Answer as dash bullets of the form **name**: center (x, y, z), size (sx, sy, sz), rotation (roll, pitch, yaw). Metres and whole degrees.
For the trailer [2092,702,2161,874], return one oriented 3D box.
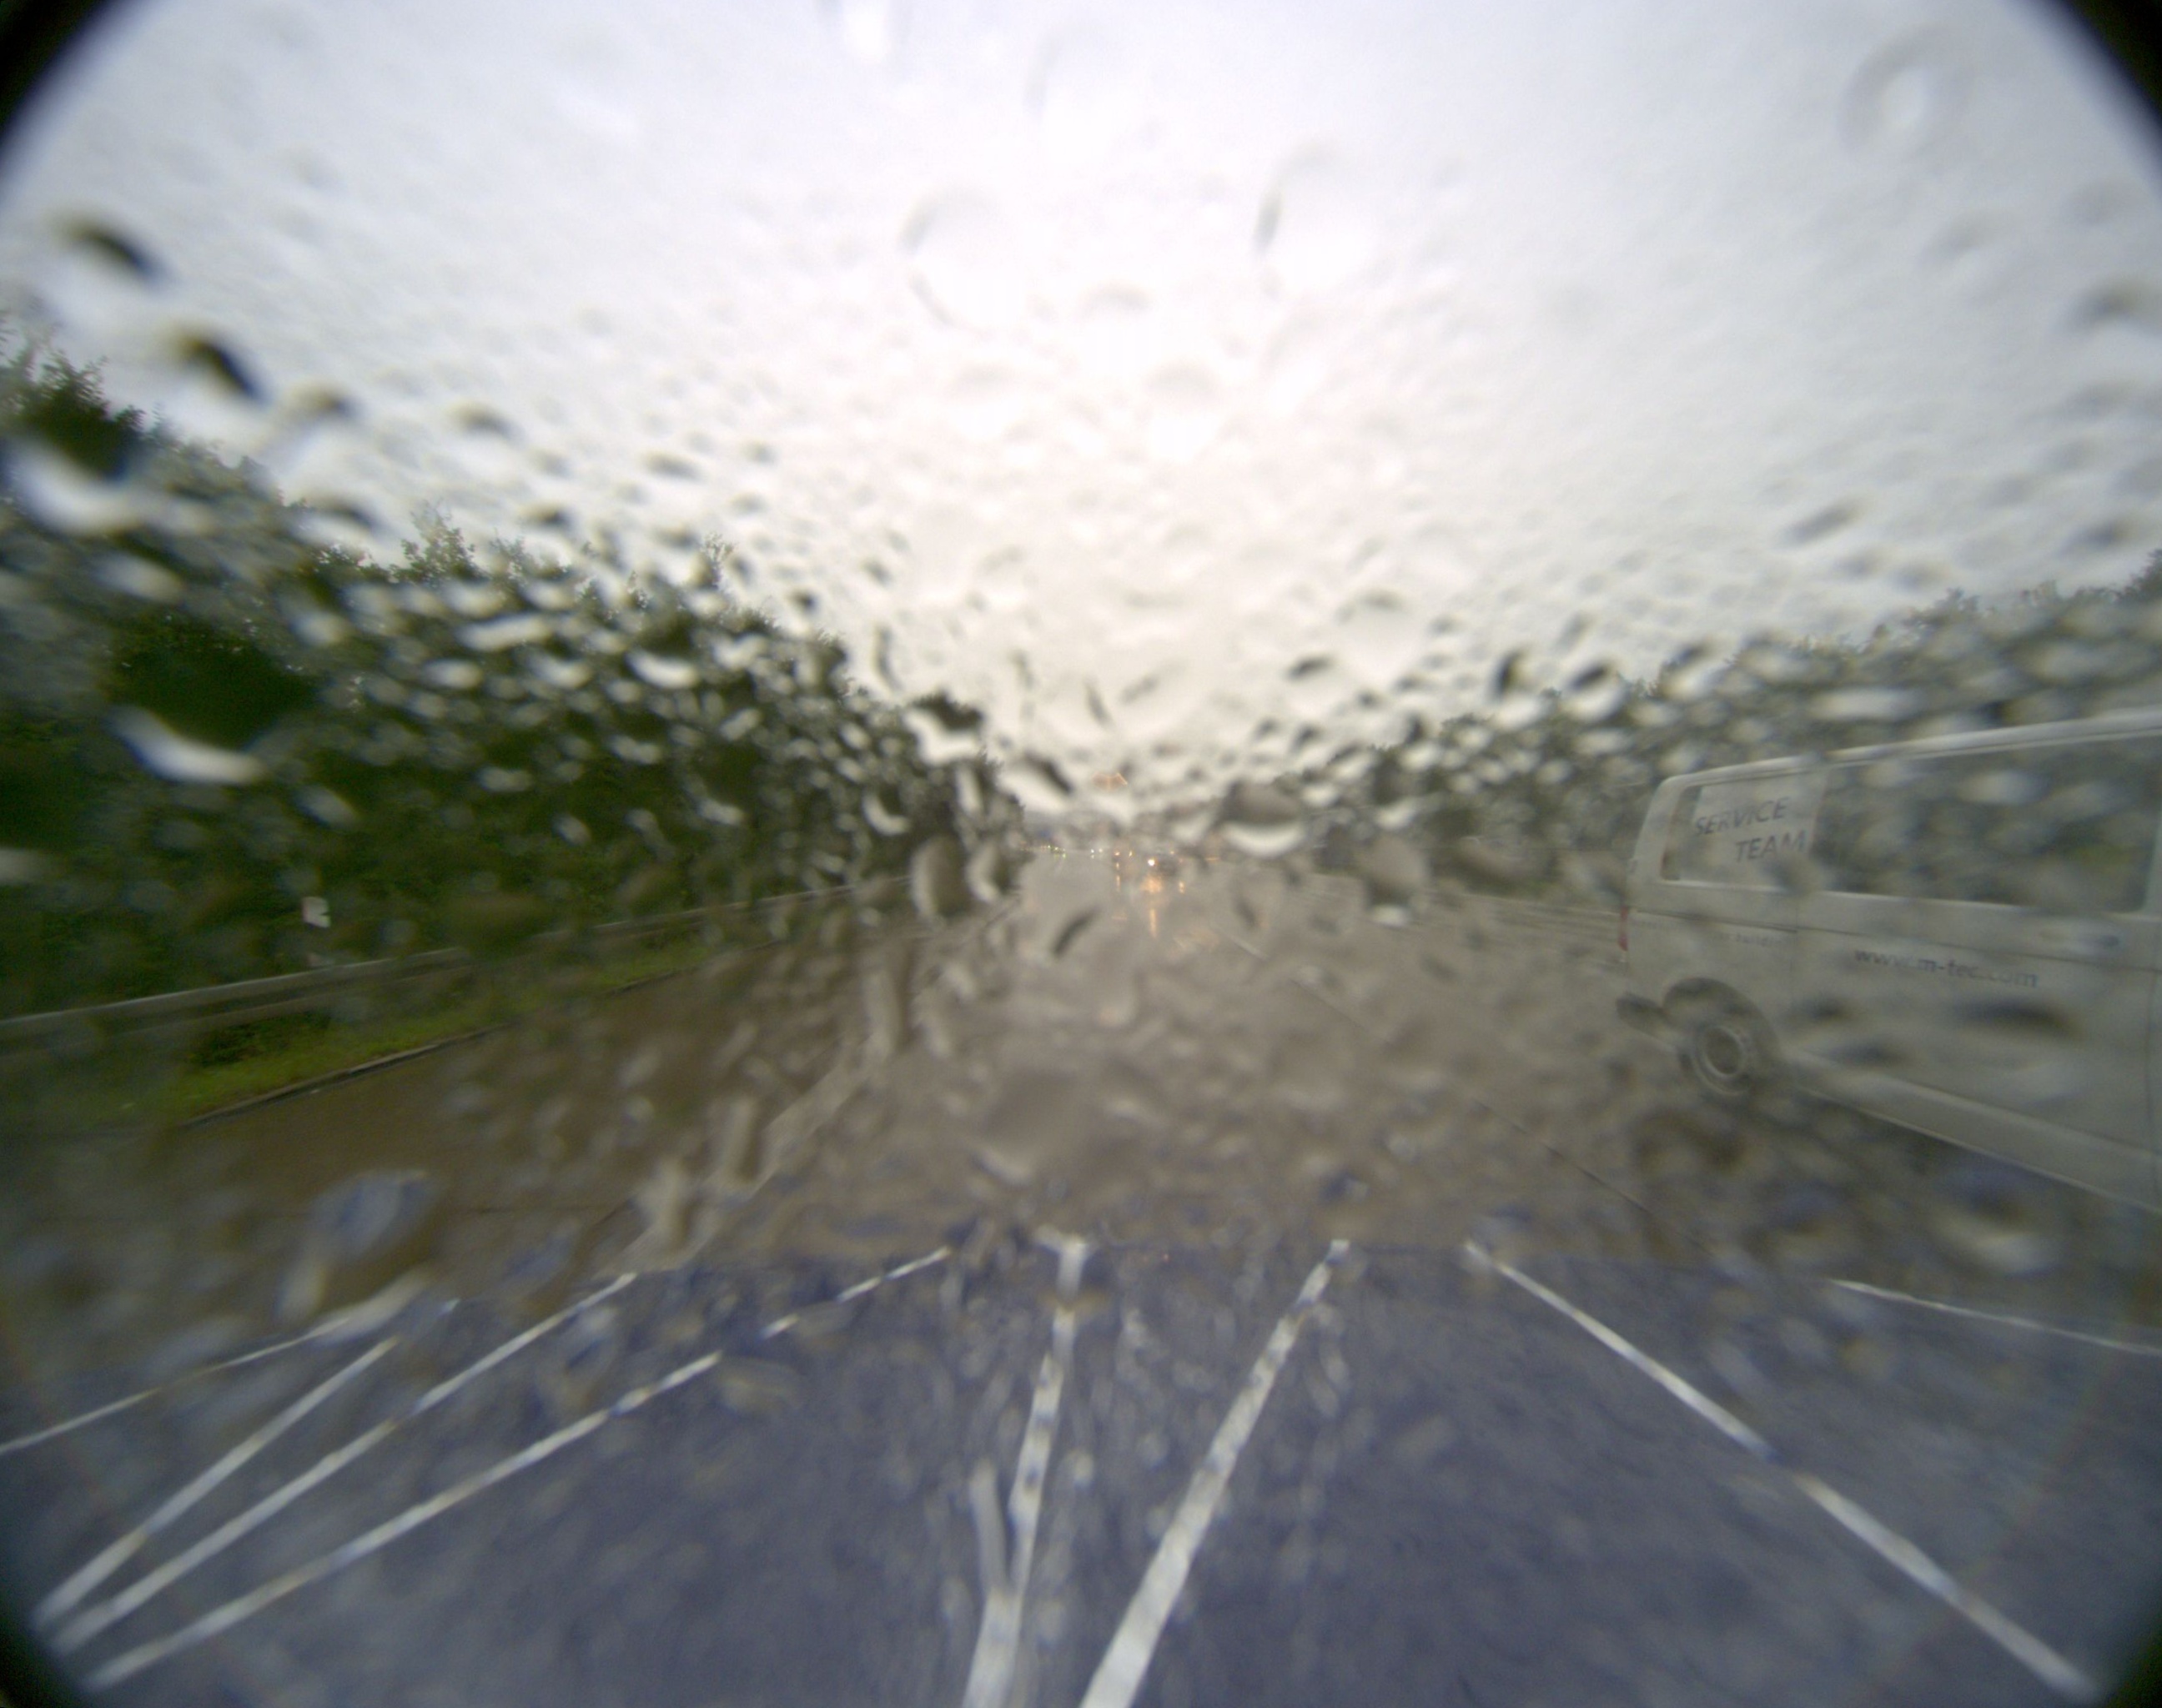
- **trailer**: center (24.974, -1.431, 10.914), size (2.774, 3.780, 13.776), rotation (-3, 1, 1)

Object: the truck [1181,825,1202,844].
- **truck**: center (22.227, -3.846, 153.456), size (2.591, 3.679, 9.797), rotation (-3, 1, -1)

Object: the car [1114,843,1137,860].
- **car**: center (4.099, -0.253, 70.777), size (1.934, 1.426, 4.517), rotation (0, 1, 0)

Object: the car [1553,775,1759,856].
- **car**: center (21.227, -1.305, 28.725), size (2.188, 2.552, 7.444), rotation (-3, 1, 1)

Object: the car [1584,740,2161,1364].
- **car**: center (4.192, 0.574, 2.362), size (1.904, 1.883, 5.042), rotation (-2, 1, 0)

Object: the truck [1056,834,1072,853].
- **truck**: center (-3.847, -2.246, 173.850), size (3.058, 3.995, 10.044), rotation (0, -1, 2)

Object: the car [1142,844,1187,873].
- **car**: center (4.279, 0.191, 39.536), size (1.934, 1.426, 4.517), rotation (0, 1, 1)

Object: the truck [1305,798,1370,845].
- **truck**: center (24.968, -3.025, 74.721), size (2.855, 4.130, 10.176), rotation (-3, 1, 0)

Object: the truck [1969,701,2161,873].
- **truck**: center (25.099, -1.531, 16.453), size (2.781, 3.780, 7.680), rotation (-3, 1, 1)

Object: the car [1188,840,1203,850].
- **car**: center (19.120, -1.444, 127.155), size (1.757, 1.523, 5.270), rotation (-3, 1, 0)

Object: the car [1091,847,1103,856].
- **car**: center (2.679, -0.478, 124.081), size (1.934, 1.426, 4.517), rotation (0, 1, 1)

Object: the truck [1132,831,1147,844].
- **truck**: center (16.556, -4.699, 216.102), size (2.781, 3.296, 11.512), rotation (-3, 1, -2)

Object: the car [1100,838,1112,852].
- **car**: center (4.675, -1.654, 143.935), size (2.045, 2.616, 6.402), rotation (0, 1, 0)

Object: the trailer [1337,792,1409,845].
- **trailer**: center (24.905, -2.889, 65.311), size (2.855, 4.130, 8.523), rotation (-3, 1, 0)

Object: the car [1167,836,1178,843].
- **car**: center (17.964, -2.781, 149.349), size (1.757, 1.331, 4.424), rotation (-3, 1, 0)

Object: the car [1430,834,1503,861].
- **car**: center (21.174, -0.353, 41.947), size (1.757, 1.331, 4.424), rotation (-3, 1, 0)

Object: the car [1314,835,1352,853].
- **car**: center (21.632, -0.865, 65.452), size (1.757, 1.331, 4.424), rotation (-3, 1, 0)
